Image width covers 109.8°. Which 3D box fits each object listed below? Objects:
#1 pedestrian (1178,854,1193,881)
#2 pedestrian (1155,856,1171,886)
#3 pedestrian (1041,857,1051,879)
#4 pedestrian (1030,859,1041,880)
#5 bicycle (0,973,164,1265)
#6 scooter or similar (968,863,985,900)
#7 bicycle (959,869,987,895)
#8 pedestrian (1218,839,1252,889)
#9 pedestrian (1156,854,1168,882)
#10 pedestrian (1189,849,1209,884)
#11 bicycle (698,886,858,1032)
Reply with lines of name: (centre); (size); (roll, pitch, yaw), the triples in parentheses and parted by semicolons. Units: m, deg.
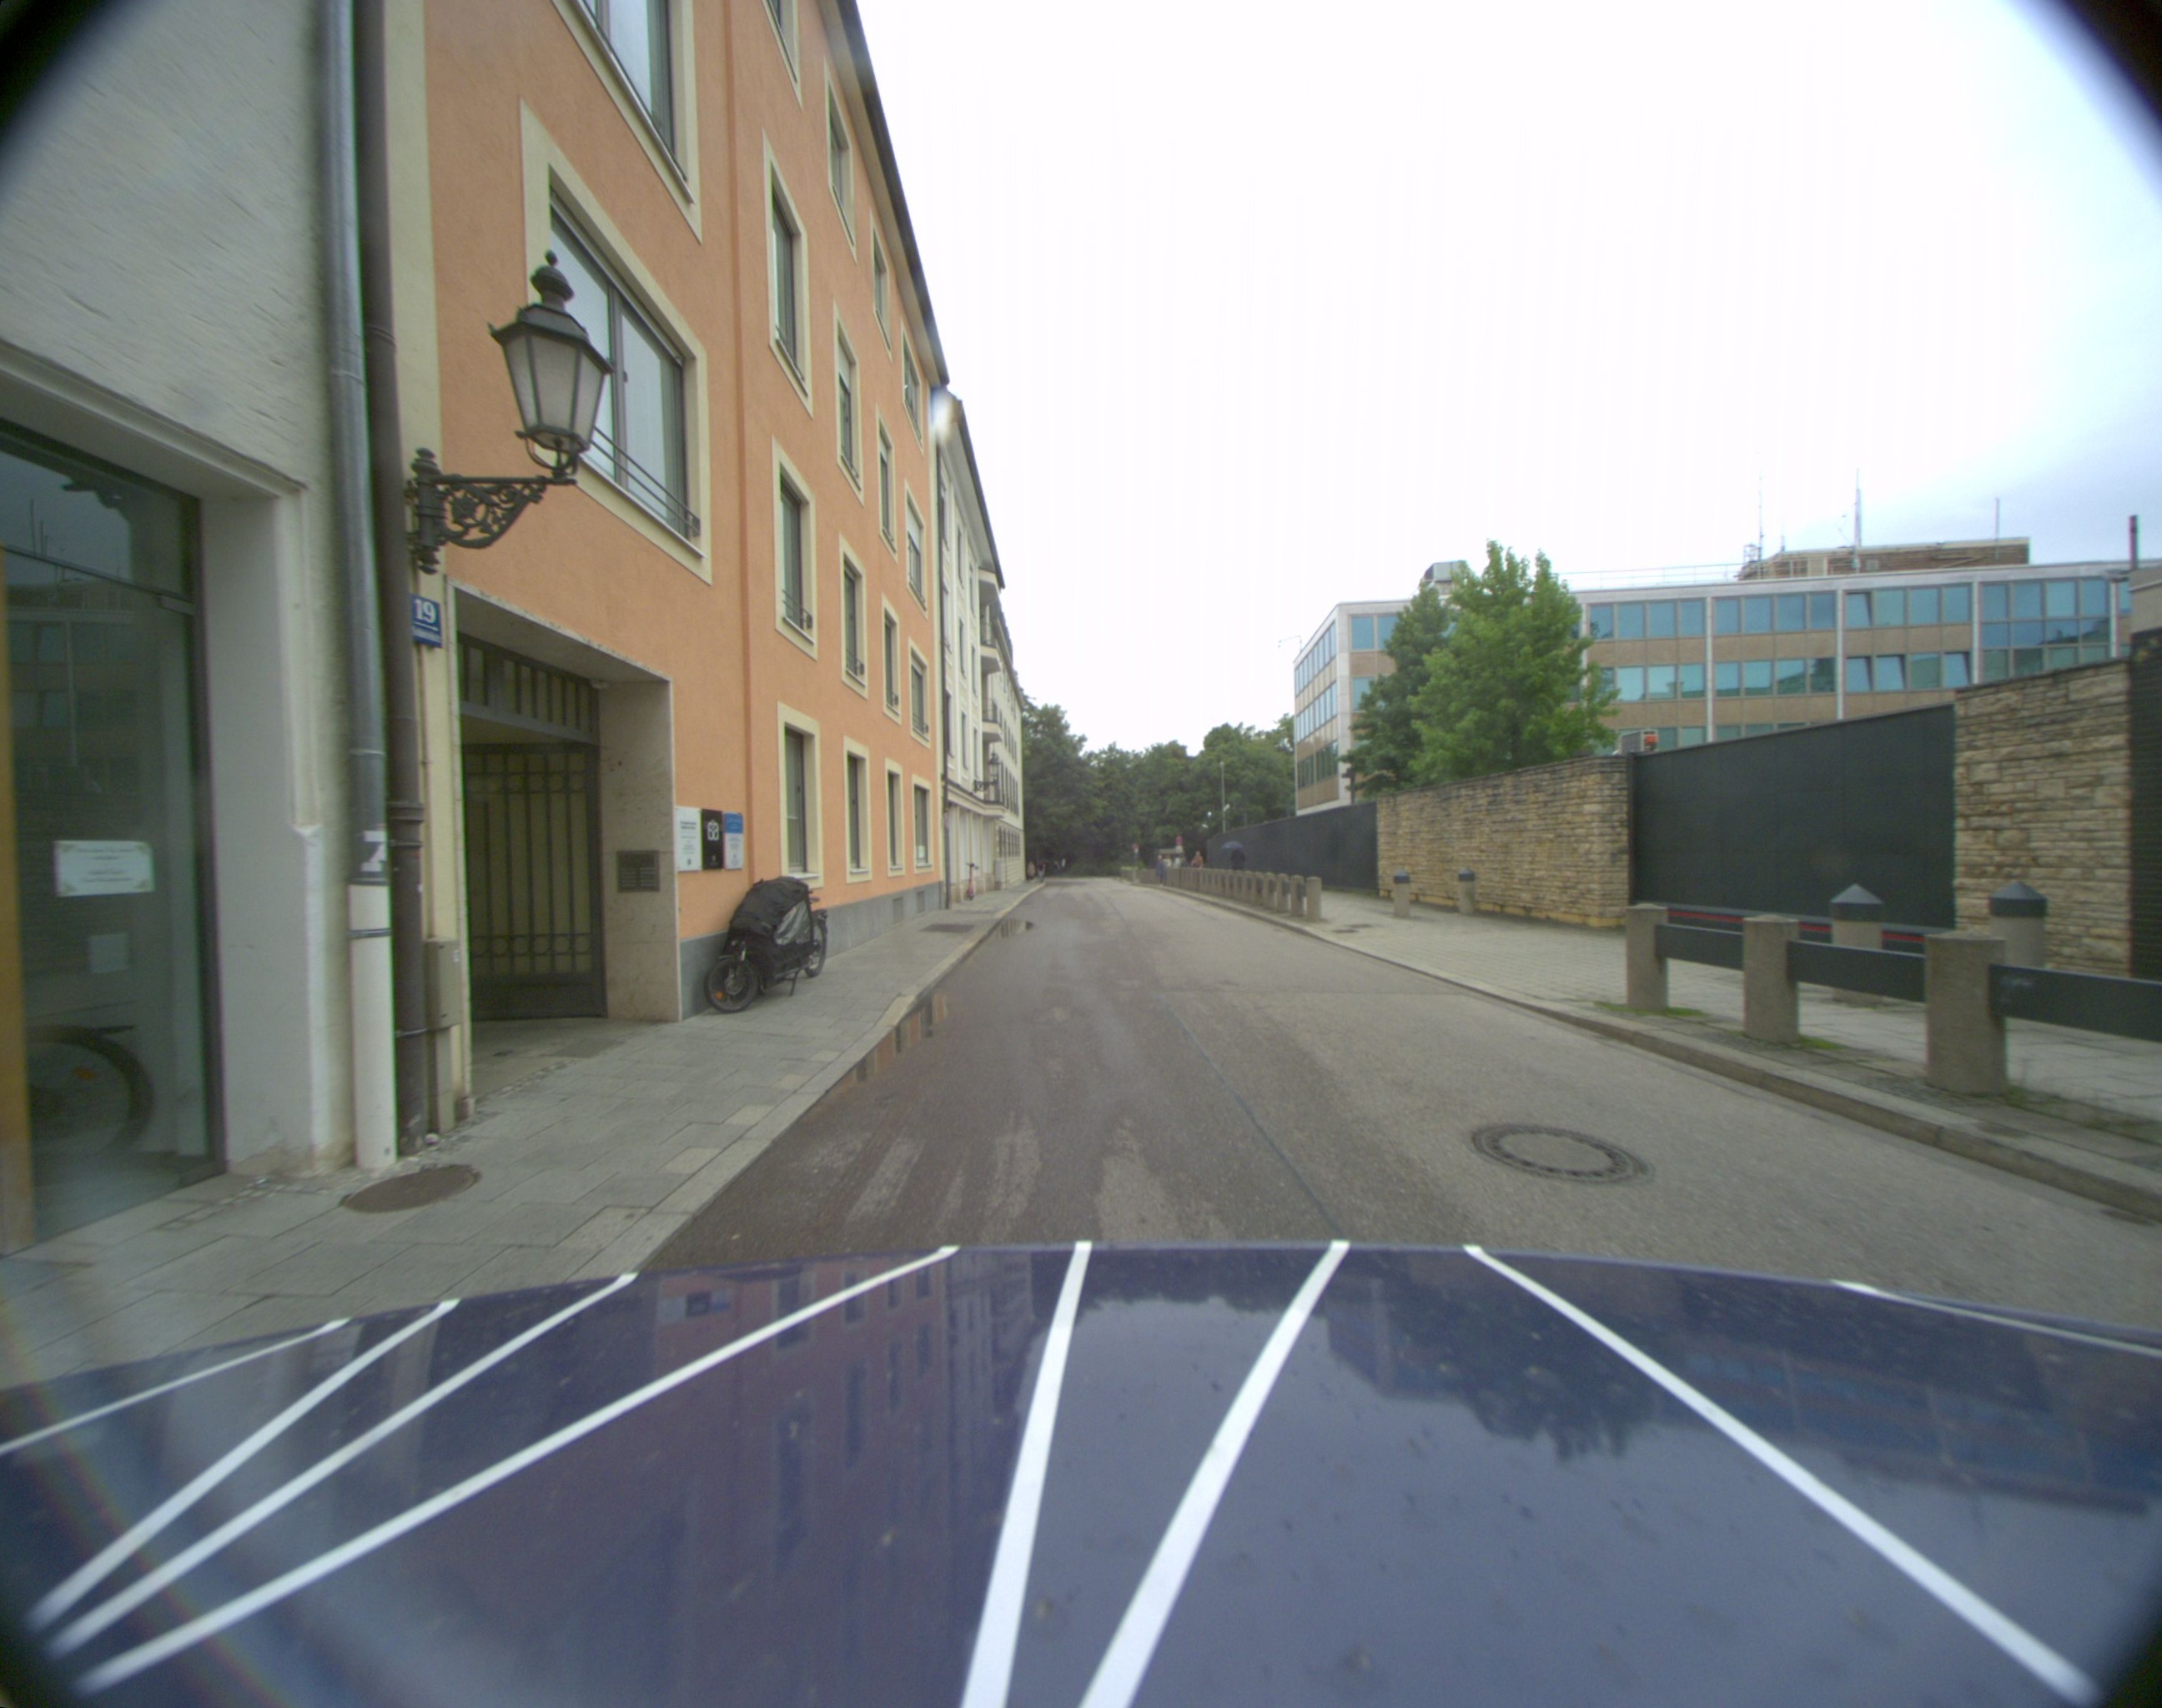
pedestrian: (6.191, 0.811, 44.981); (0.779, 1.531, 0.933); (-4, 0, 7)
pedestrian: (4.209, 0.875, 39.126); (0.640, 1.458, 1.079); (-4, 0, 0)
pedestrian: (-2.721, 1.107, 59.480); (0.753, 1.725, 0.853); (-2, 0, -2)
pedestrian: (-3.538, 1.201, 59.124); (0.753, 1.671, 0.655); (-2, 0, -2)
bicycle: (-5.065, 1.035, 2.978); (1.775, 1.025, 0.758); (3, 0, -11)
scooter or similar: (-3.678, 0.959, 26.708); (0.466, 1.251, 1.275); (1, 1, -14)
bicycle: (-4.209, 1.092, 29.781); (0.464, 0.988, 2.080); (-1, -1, 10)
pedestrian: (6.671, 0.427, 33.001); (1.226, 2.091, 1.117); (-2, 0, 1)
pedestrian: (5.176, 0.919, 48.459); (0.625, 1.758, 0.766); (-2, 0, -1)
pedestrian: (5.986, 0.618, 38.678); (0.826, 1.713, 0.906); (-4, 0, 4)
bicycle: (-3.148, 1.017, 8.195); (0.681, 1.233, 2.382); (3, 0, 1)
